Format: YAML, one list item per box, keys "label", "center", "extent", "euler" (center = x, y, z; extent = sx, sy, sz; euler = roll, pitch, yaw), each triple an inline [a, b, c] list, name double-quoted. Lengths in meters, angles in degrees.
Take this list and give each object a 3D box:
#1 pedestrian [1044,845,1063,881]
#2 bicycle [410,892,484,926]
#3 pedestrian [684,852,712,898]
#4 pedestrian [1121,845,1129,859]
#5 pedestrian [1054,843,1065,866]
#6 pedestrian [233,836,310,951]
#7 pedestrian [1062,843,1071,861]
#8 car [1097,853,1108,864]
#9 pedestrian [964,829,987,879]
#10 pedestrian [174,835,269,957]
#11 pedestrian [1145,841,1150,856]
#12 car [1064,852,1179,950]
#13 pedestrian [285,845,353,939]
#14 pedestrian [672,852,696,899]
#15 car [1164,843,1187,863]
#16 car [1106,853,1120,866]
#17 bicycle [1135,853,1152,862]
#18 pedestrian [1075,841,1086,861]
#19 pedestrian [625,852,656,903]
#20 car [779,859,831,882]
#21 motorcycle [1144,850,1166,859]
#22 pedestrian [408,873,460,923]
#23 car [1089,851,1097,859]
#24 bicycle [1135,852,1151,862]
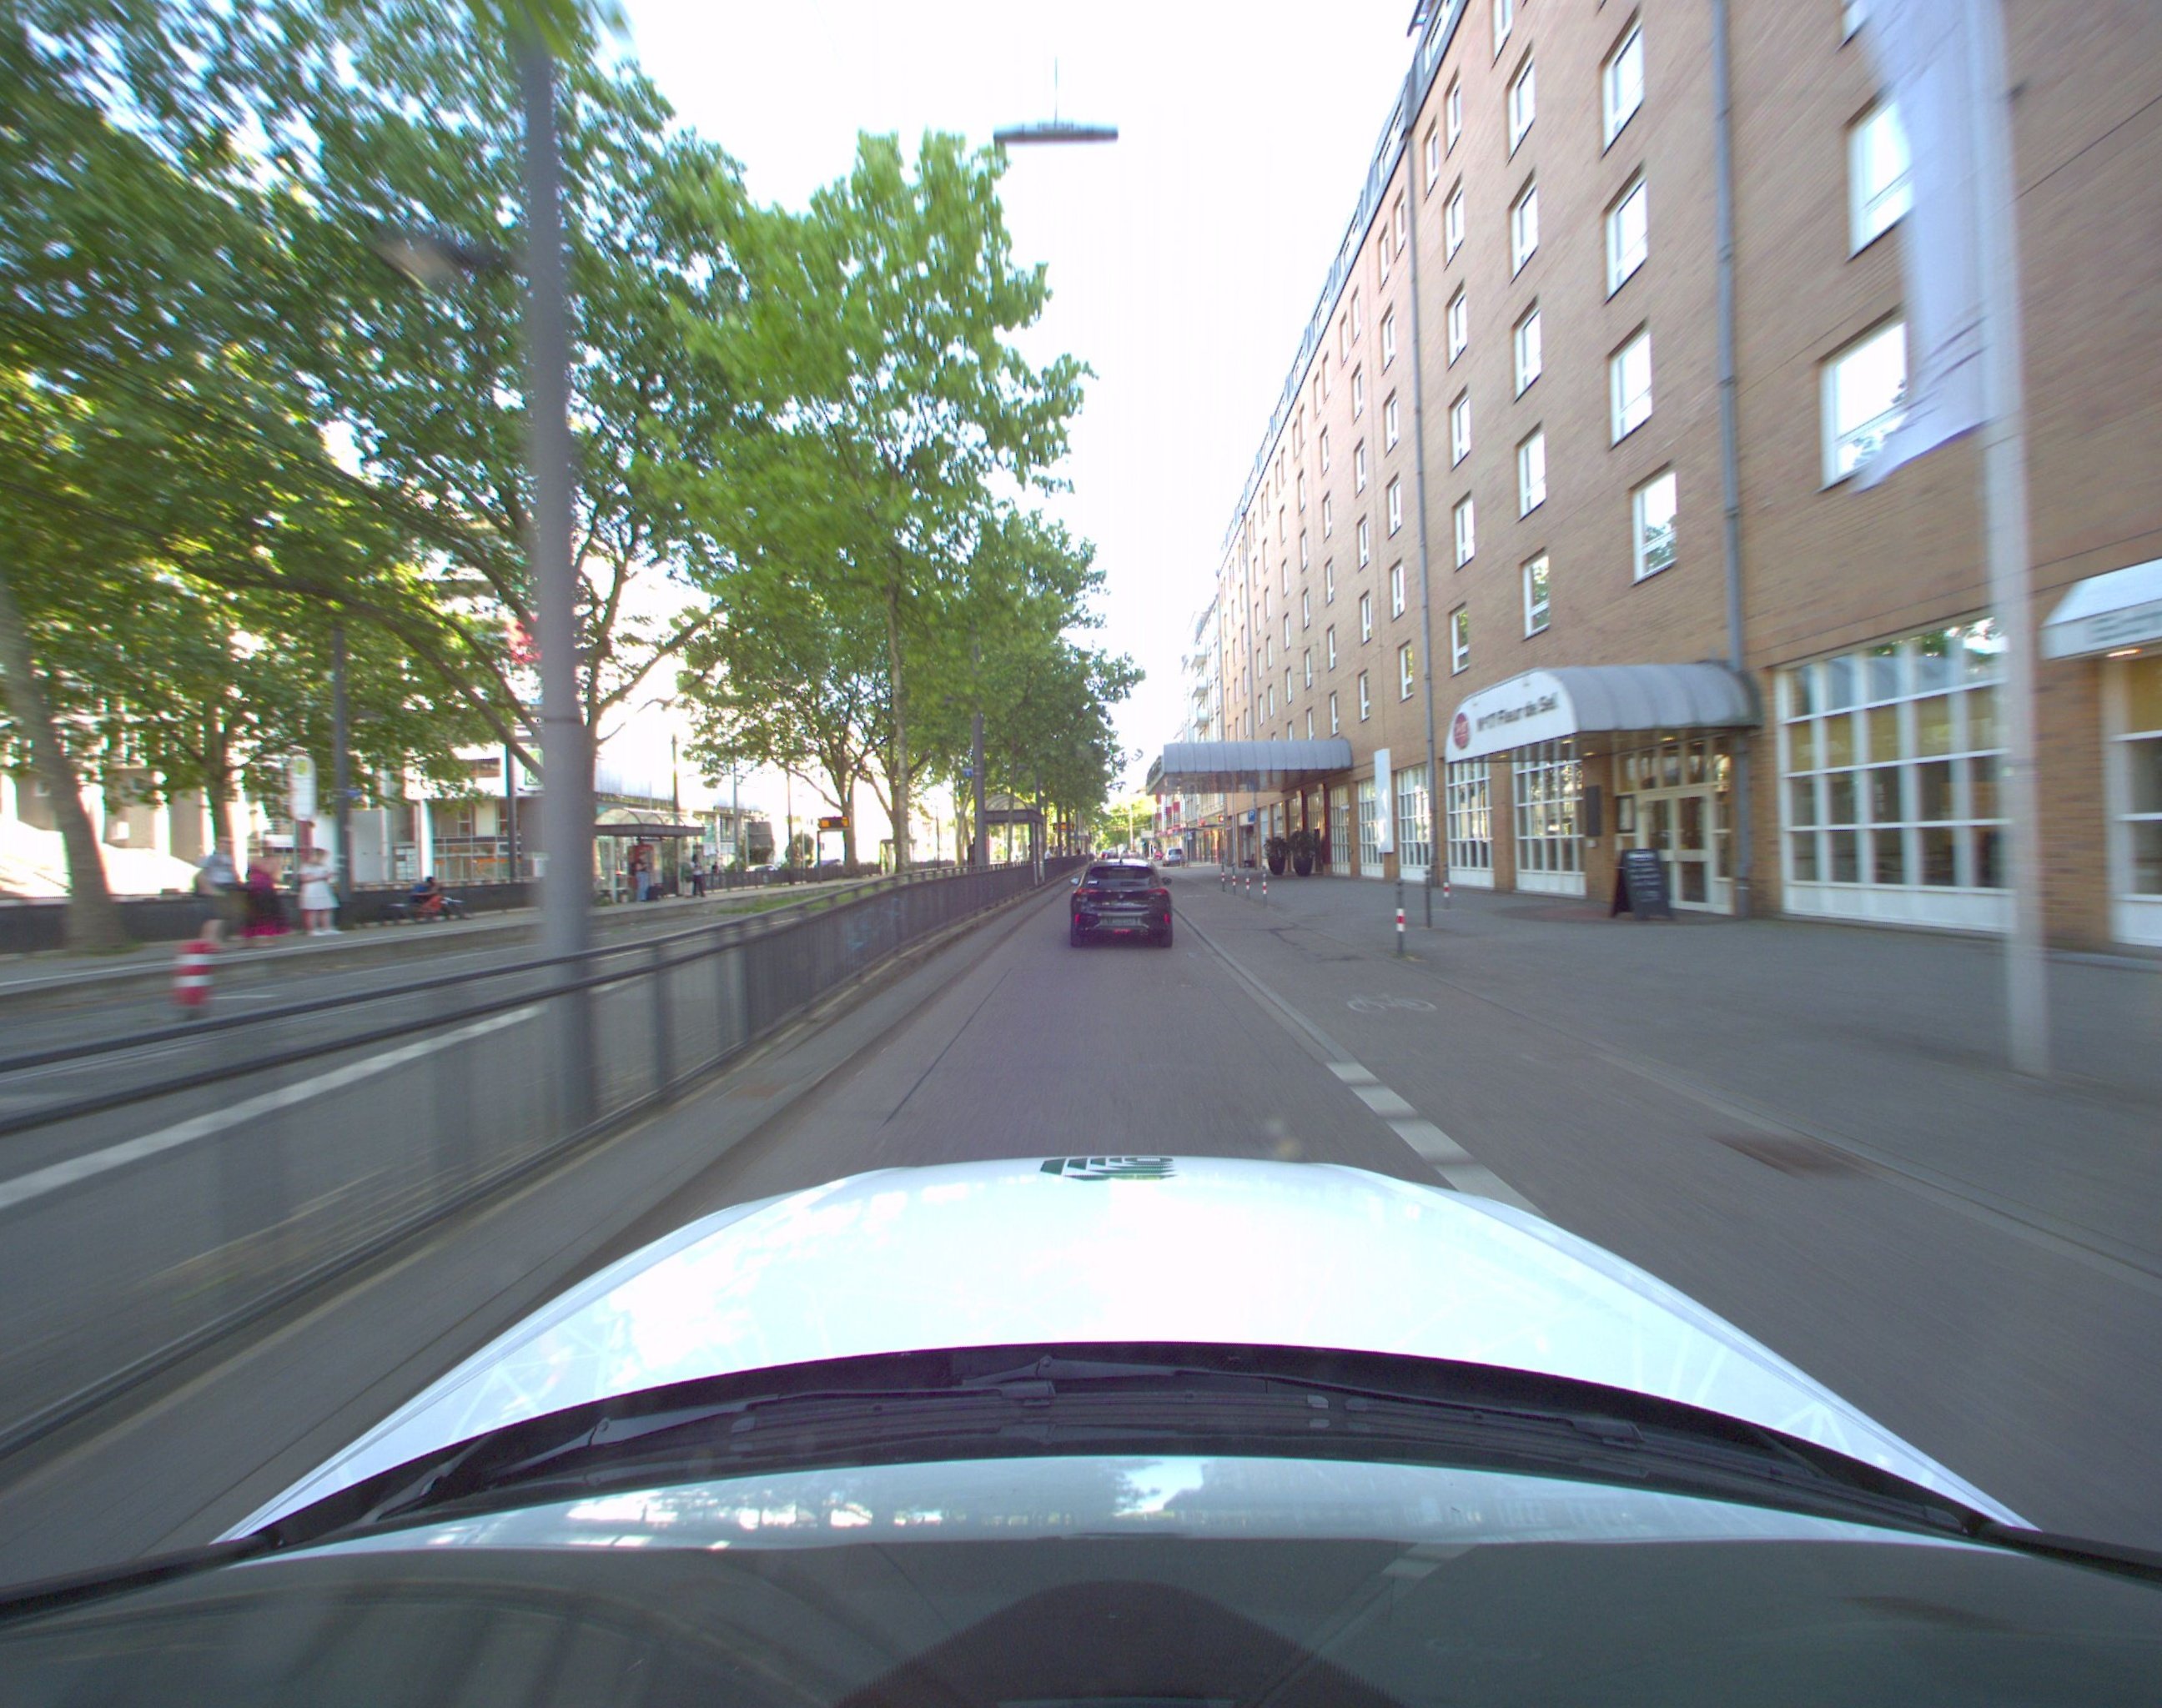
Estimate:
- label: "pedestrian"
  center: [-1.151, 0.375, 34.183]
  extent: [0.720, 1.444, 0.626]
  euler: [-2, 0, -2]
- label: "bicycle"
  center: [-15.337, 1.318, 19.745]
  extent: [0.391, 0.689, 1.696]
  euler: [-2, 0, 2]
- label: "pedestrian"
  center: [-13.527, 0.722, 28.749]
  extent: [0.559, 1.573, 0.642]
  euler: [-1, 2, 14]
- label: "pedestrian"
  center: [9.228, -0.334, 170.213]
  extent: [1.154, 2.871, 0.911]
  euler: [-2, 0, -31]
- label: "pedestrian"
  center: [-1.308, 0.019, 49.859]
  extent: [0.601, 1.365, 0.486]
  euler: [-4, 0, 2]
- label: "pedestrian"
  center: [-13.358, 0.622, 13.446]
  extent: [0.585, 1.828, 0.749]
  euler: [-2, 0, 33]
- label: "pedestrian"
  center: [-1.164, -0.154, 64.256]
  extent: [0.601, 1.365, 0.486]
  euler: [-4, 0, 2]
- label: "car"
  center: [3.173, 0.648, 121.743]
  extent: [1.607, 1.501, 3.692]
  euler: [-2, 0, 1]
- label: "pedestrian"
  center: [-3.636, -0.013, 28.042]
  extent: [0.601, 1.680, 0.486]
  euler: [-4, 0, 2]
- label: "pedestrian"
  center: [-13.357, 0.629, 12.672]
  extent: [0.633, 1.828, 0.744]
  euler: [-2, 0, -3]
- label: "pedestrian"
  center: [13.261, -1.065, 162.396]
  extent: [0.913, 2.871, 1.151]
  euler: [-2, 0, 1]
- label: "car"
  center: [0.847, 0.751, 14.619]
  extent: [1.662, 1.502, 3.699]
  euler: [1, 0, 9]
- label: "pedestrian"
  center: [-15.053, 0.735, 16.096]
  extent: [0.586, 1.800, 0.748]
  euler: [-2, 0, 17]
- label: "pedestrian"
  center: [-13.729, 0.728, 28.177]
  extent: [0.498, 1.573, 0.495]
  euler: [-2, 1, 6]
- label: "car"
  center: [8.201, -0.121, 70.818]
  extent: [1.665, 1.652, 3.694]
  euler: [-2, 0, 3]
- label: "car"
  center: [4.049, 0.656, 103.251]
  extent: [1.607, 1.501, 3.692]
  euler: [-2, 0, 1]
- label: "bicycle"
  center: [9.033, 0.468, 118.003]
  extent: [2.345, 1.233, 0.684]
  euler: [-2, 0, 3]
- label: "pedestrian"
  center: [-0.049, -0.236, 59.359]
  extent: [0.720, 1.444, 0.626]
  euler: [-2, 0, -2]
- label: "pedestrian"
  center: [-13.933, 0.738, 25.769]
  extent: [0.480, 1.573, 0.676]
  euler: [0, 2, 45]
- label: "car"
  center: [-17.477, 1.026, 51.807]
  extent: [1.658, 1.407, 4.005]
  euler: [-2, -1, 4]
- label: "motorcycle"
  center: [9.541, 0.095, 104.806]
  extent: [1.312, 1.058, 3.070]
  euler: [-2, 0, -28]
- label: "pedestrian"
  center: [-15.585, 1.056, 19.636]
  extent: [0.586, 1.164, 0.748]
  euler: [-2, 0, 17]
- label: "car"
  center: [2.412, 0.204, 161.352]
  extent: [1.607, 1.501, 3.692]
  euler: [-2, 0, 1]
- label: "bicycle"
  center: [8.875, 0.429, 116.500]
  extent: [2.345, 1.233, 0.684]
  euler: [-2, 0, 3]
